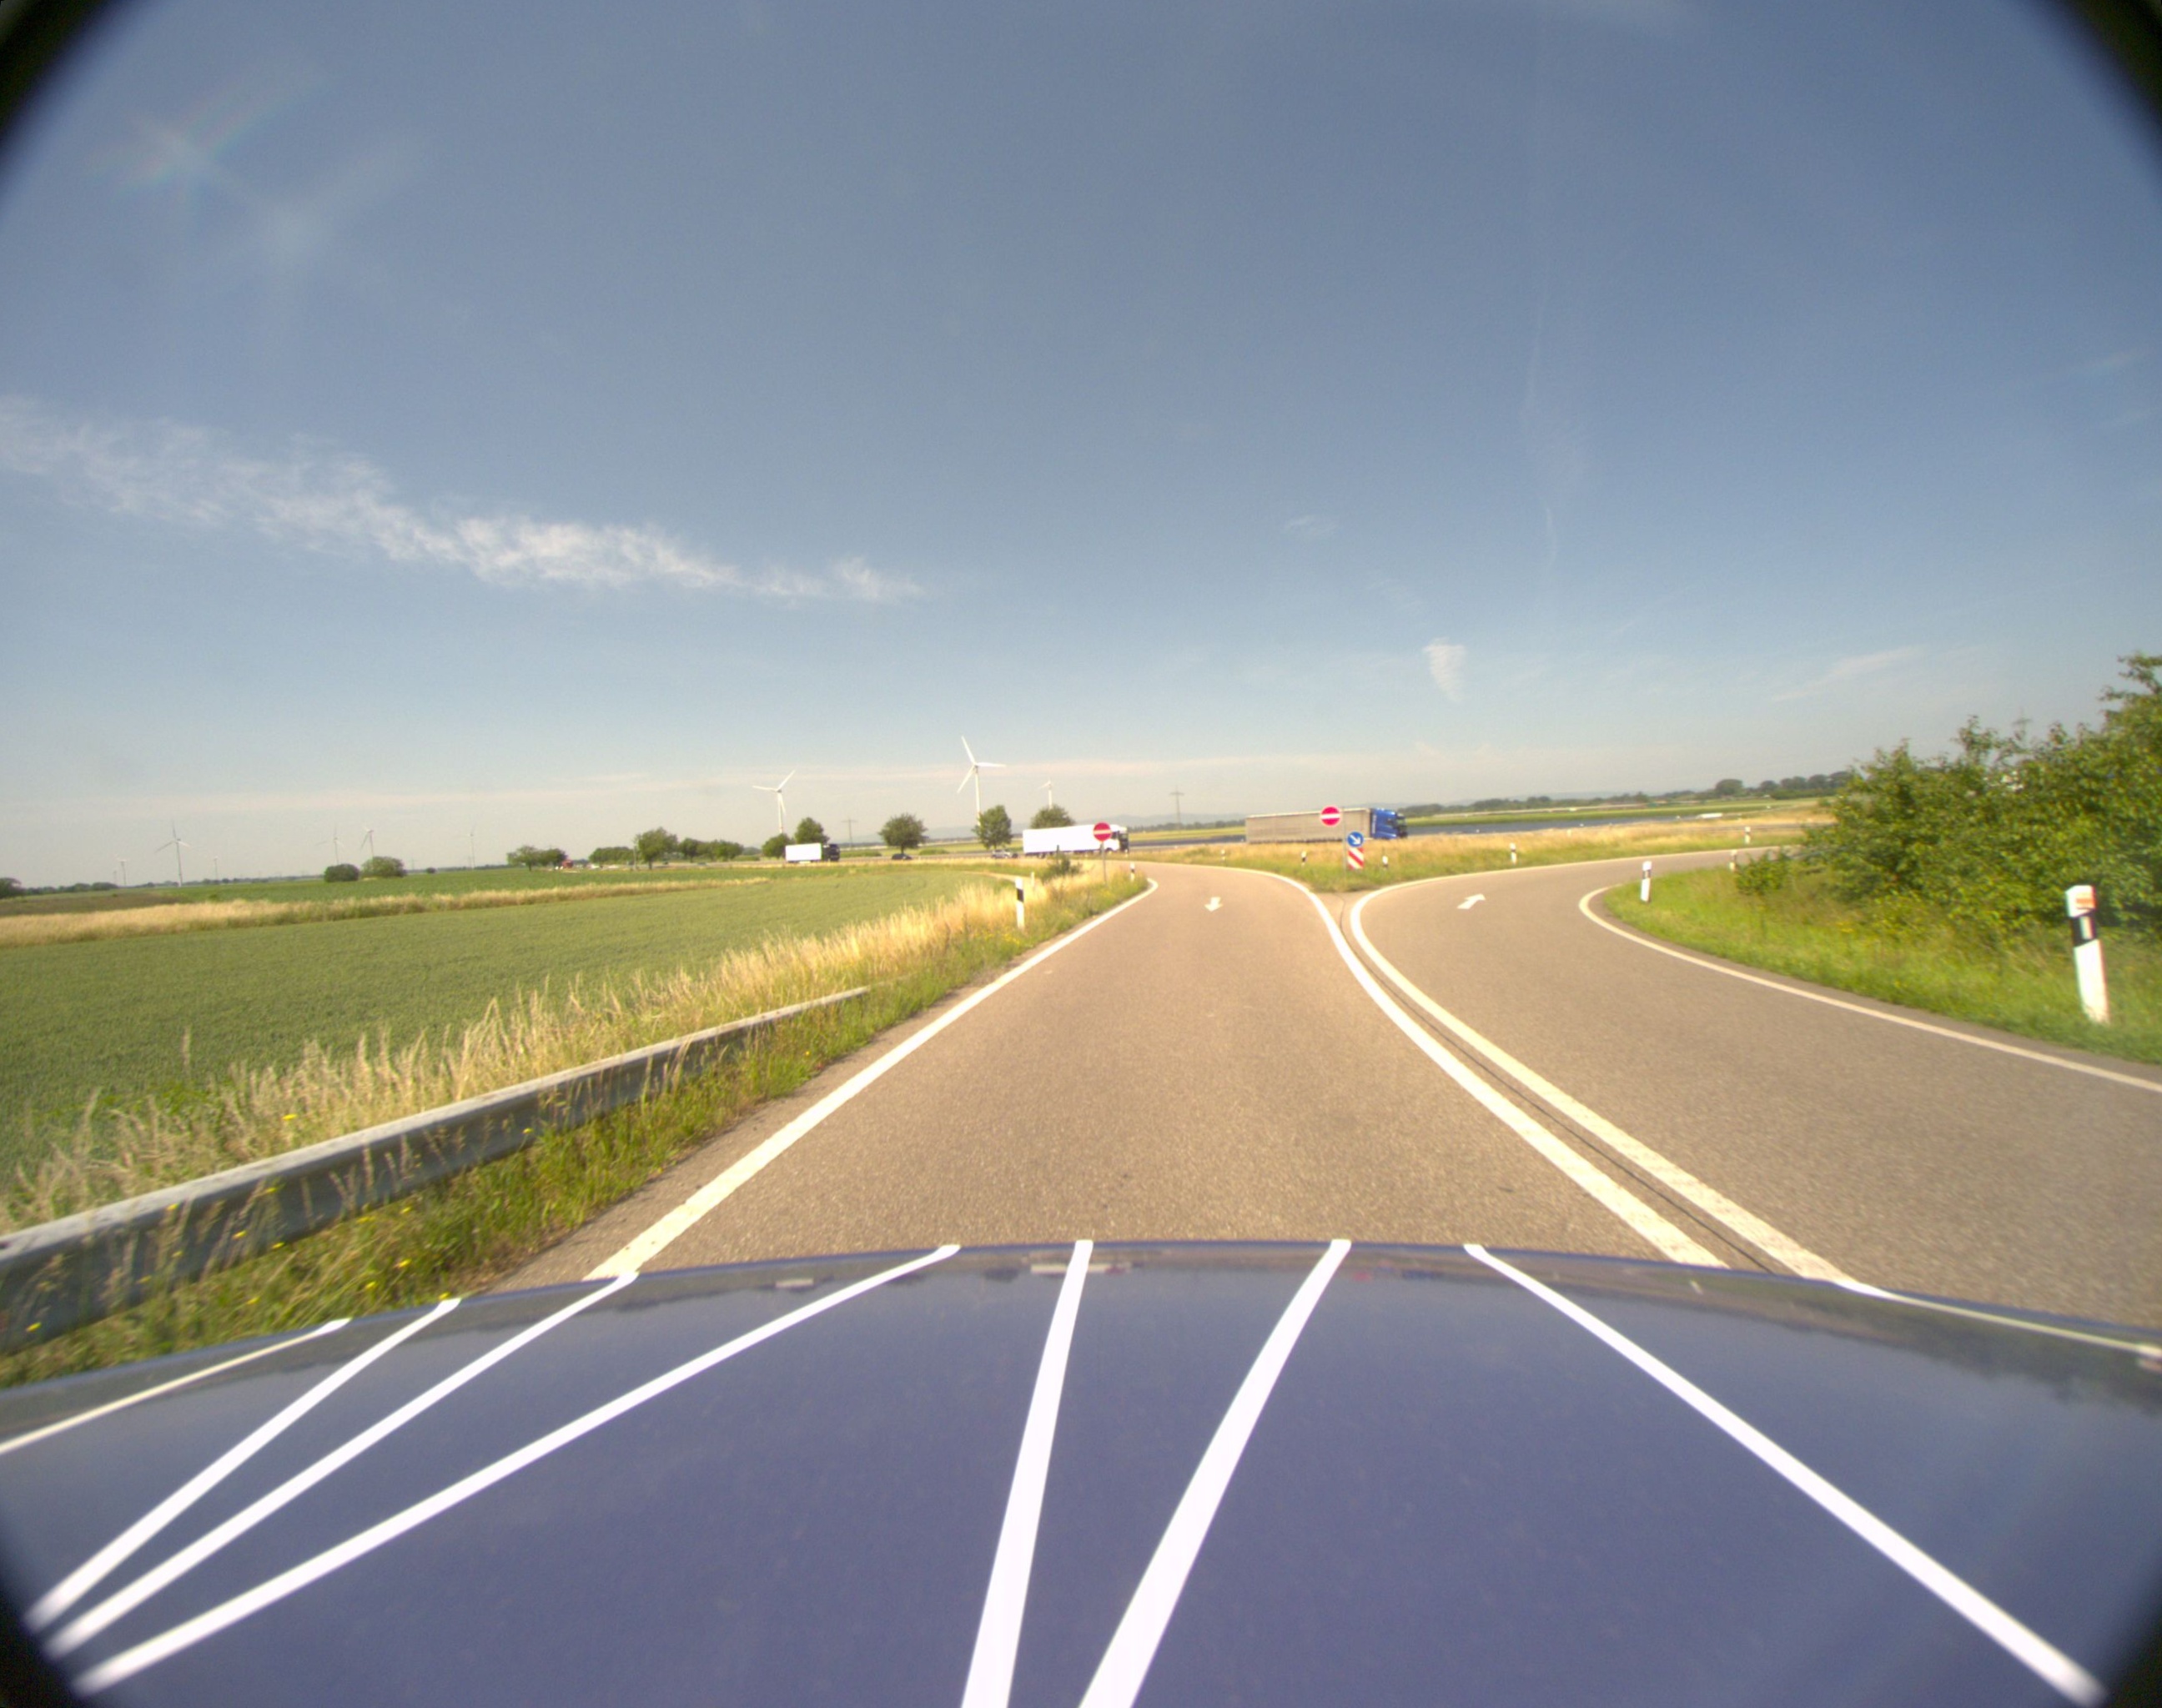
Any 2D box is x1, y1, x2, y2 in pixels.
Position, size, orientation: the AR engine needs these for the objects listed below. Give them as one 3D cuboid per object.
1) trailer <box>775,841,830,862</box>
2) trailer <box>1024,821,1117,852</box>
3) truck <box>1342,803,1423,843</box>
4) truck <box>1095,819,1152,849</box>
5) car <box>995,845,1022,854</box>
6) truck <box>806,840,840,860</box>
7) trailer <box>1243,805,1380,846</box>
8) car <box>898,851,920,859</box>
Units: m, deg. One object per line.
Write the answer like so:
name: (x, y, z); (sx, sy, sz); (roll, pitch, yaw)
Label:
trailer: (-54.162, -0.461, 147.467); (14.473, 3.623, 3.108); (-1, 2, 40)
trailer: (-1.578, -2.192, 100.900); (13.617, 3.623, 3.108); (-1, 2, 40)
truck: (29.423, -2.990, 74.287); (6.611, 3.645, 3.121); (-1, 2, 44)
truck: (5.259, -2.511, 95.003); (6.437, 3.498, 3.121); (-1, 2, 40)
car: (-10.892, -0.681, 114.454); (3.988, 1.346, 1.685); (-1, 2, 41)
truck: (-48.549, -0.675, 142.694); (6.218, 3.498, 3.121); (-1, 2, 40)
trailer: (23.834, -2.866, 79.606); (13.765, 3.623, 3.108); (-1, 2, 44)
car: (-30.200, 0.167, 133.363); (3.988, 1.346, 1.685); (-1, 2, 42)
